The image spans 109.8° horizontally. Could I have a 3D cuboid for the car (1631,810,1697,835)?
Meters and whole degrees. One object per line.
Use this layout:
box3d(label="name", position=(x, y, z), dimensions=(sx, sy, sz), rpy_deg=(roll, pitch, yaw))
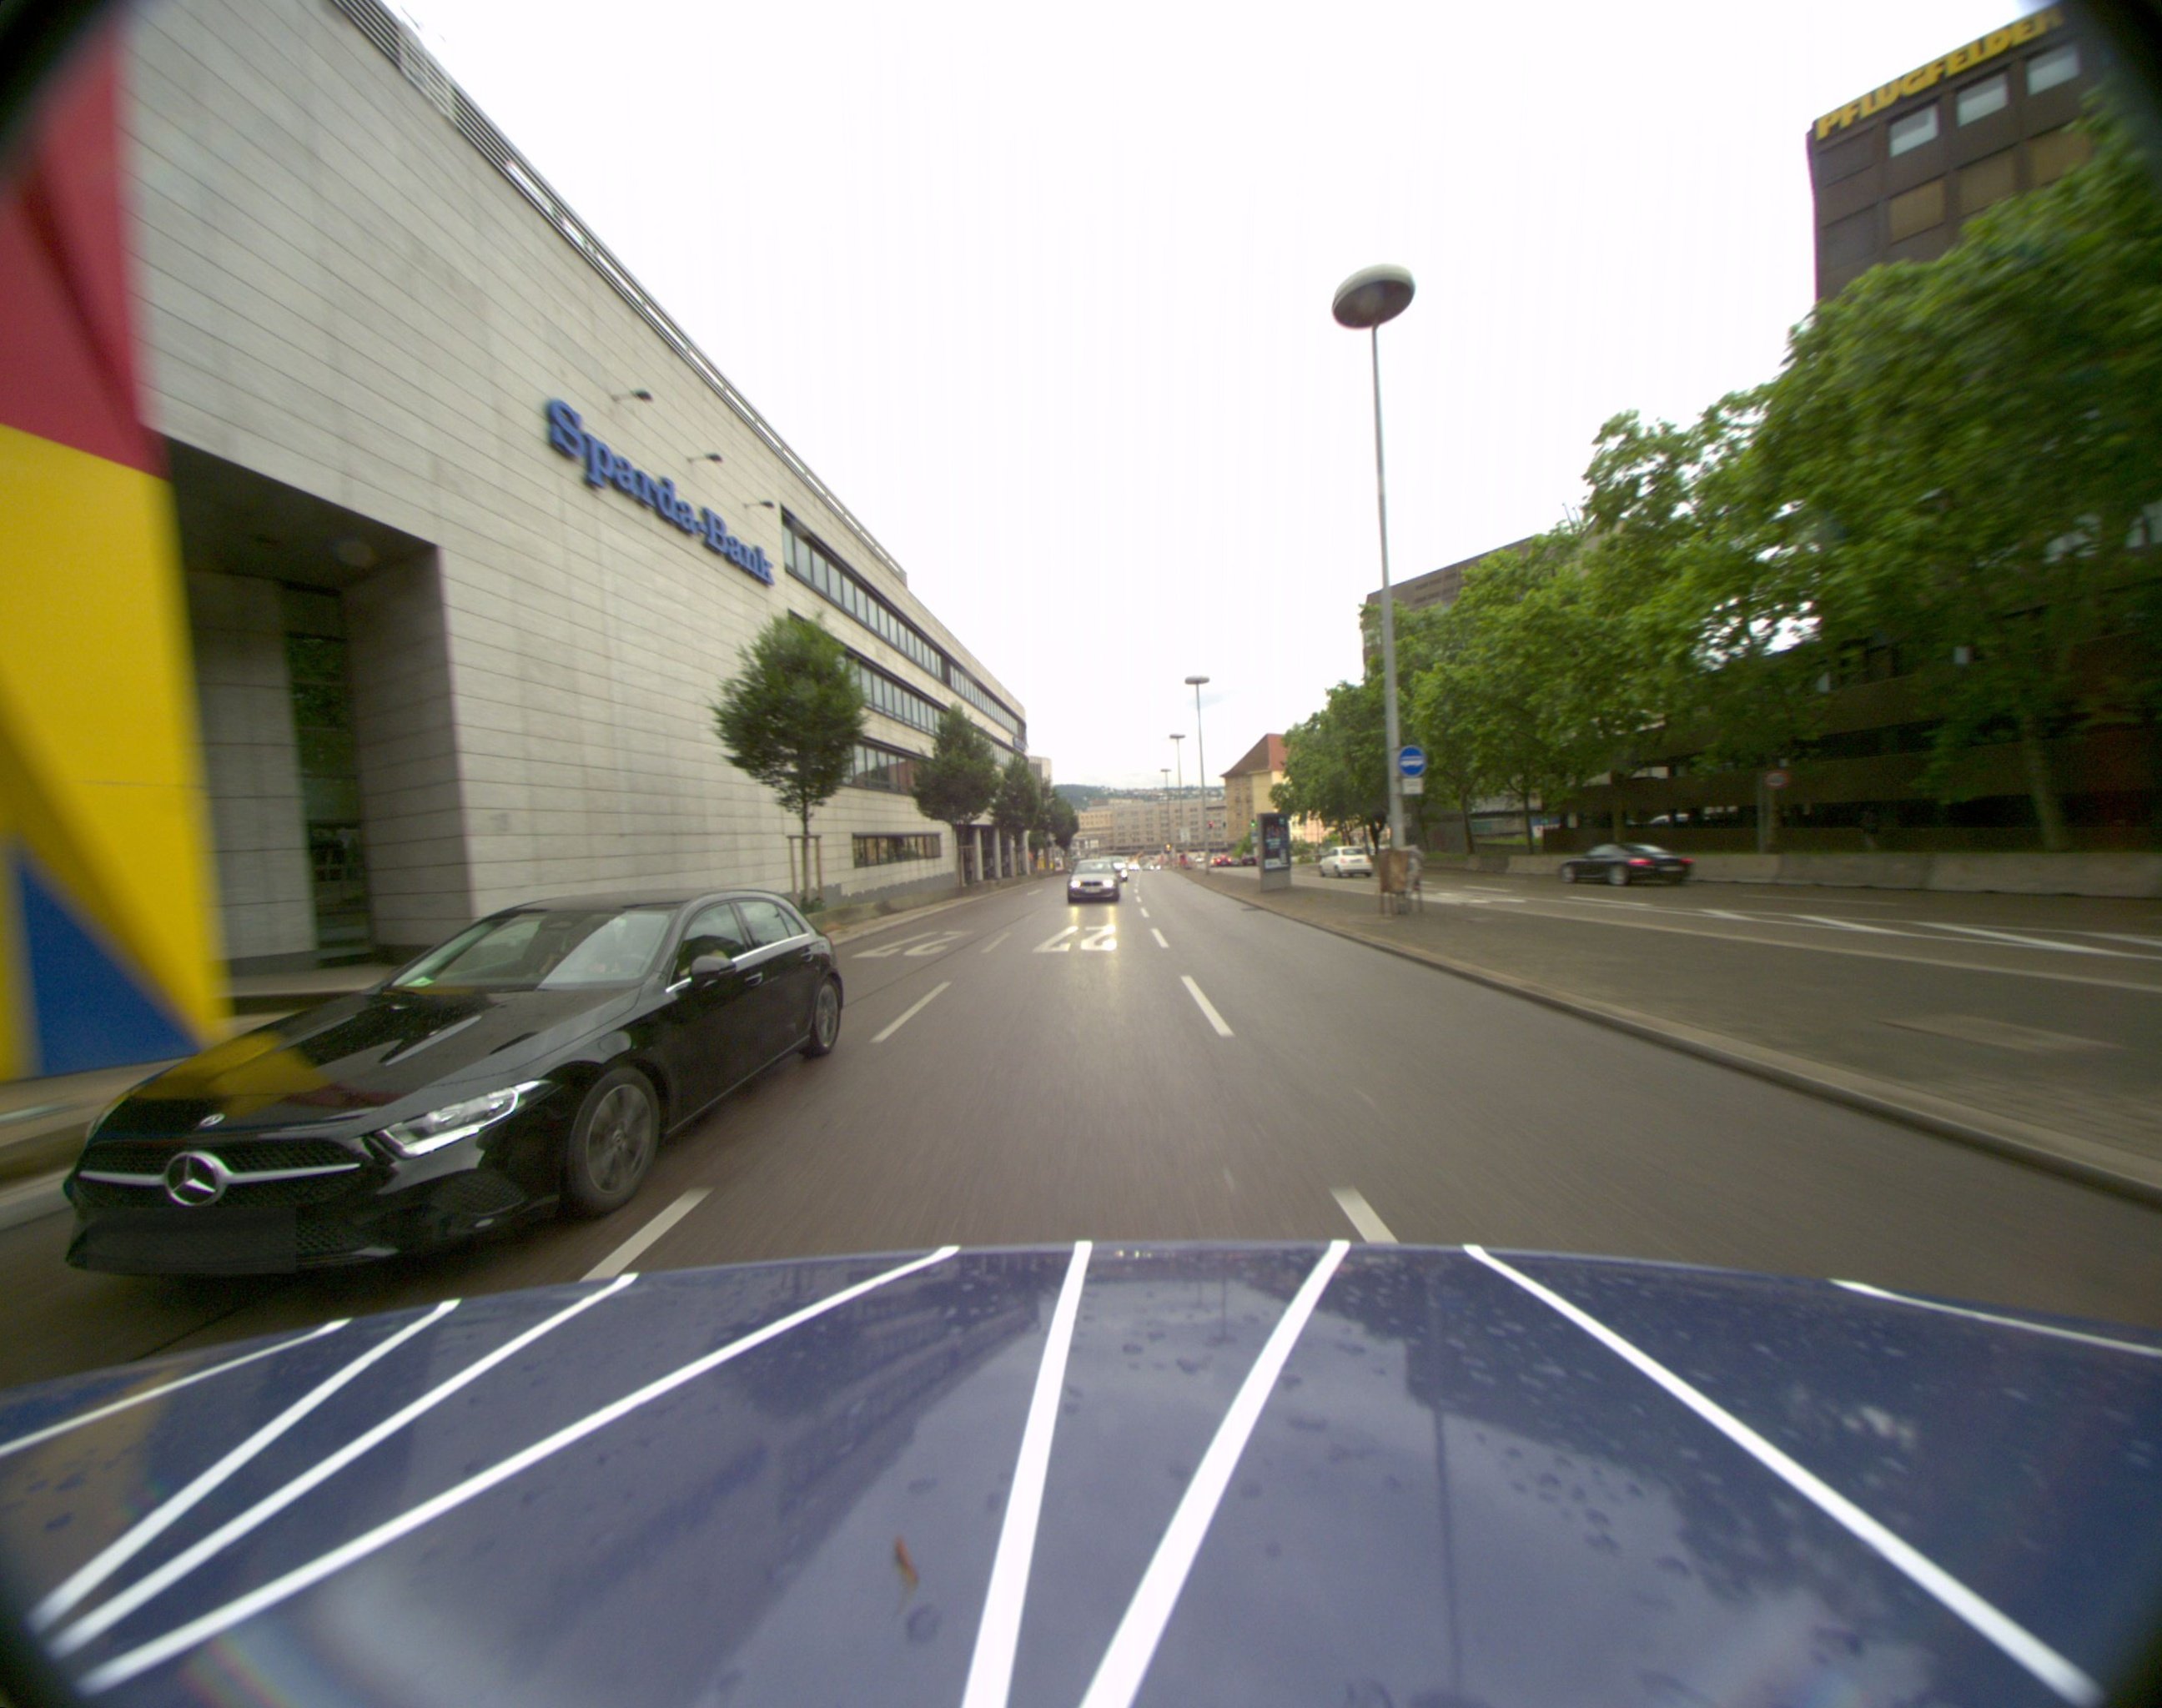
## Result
box3d(label="car", position=(47.137, -2.531, 61.545), dimensions=(3.990, 1.707, 2.004), rpy_deg=(-2, 0, 29))

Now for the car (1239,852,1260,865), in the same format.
box3d(label="car", position=(20.003, 0.473, 90.331), dimensions=(1.937, 1.428, 4.078), rpy_deg=(-2, 0, 7))

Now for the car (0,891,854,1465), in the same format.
box3d(label="car", position=(-3.022, 1.063, 4.319), dimensions=(1.876, 1.428, 4.206), rpy_deg=(-2, 0, 4))

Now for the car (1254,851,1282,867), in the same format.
box3d(label="car", position=(18.163, 0.519, 74.049), dimensions=(1.938, 1.491, 4.175), rpy_deg=(-2, -1, 5))

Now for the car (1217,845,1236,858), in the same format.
box3d(label="car", position=(17.655, -0.299, 92.501), dimensions=(1.798, 1.477, 3.865), rpy_deg=(-3, 0, 5))

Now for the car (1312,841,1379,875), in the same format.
box3d(label="car", position=(12.720, 0.176, 36.728), dimensions=(1.758, 1.510, 3.739), rpy_deg=(-2, 0, -2))

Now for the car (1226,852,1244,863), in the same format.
box3d(label="car", position=(21.139, 0.450, 104.491), dimensions=(1.938, 1.428, 4.508), rpy_deg=(-2, 0, 5))

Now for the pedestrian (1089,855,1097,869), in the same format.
box3d(label="pedestrian", position=(1.765, 1.187, 112.599), dimensions=(0.765, 1.936, 0.995), rpy_deg=(-2, 1, 23))

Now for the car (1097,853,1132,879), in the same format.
box3d(label="car", position=(2.038, 0.700, 45.053), dimensions=(1.862, 1.449, 4.207), rpy_deg=(-1, 0, 5))

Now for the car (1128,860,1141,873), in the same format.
box3d(label="car", position=(8.913, 2.048, 126.106), dimensions=(1.997, 2.002, 4.002), rpy_deg=(-2, 1, 7))

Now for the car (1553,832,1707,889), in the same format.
box3d(label="car", position=(16.595, 0.169, 23.258), dimensions=(1.758, 1.510, 4.170), rpy_deg=(-2, 0, 2))

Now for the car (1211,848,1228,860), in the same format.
box3d(label="car", position=(18.070, -0.006, 99.242), dimensions=(1.798, 1.477, 3.865), rpy_deg=(-2, 1, 5))

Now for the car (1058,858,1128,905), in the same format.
box3d(label="car", position=(0.492, 0.873, 25.608), dimensions=(1.862, 1.428, 4.208), rpy_deg=(-2, -1, 7))
